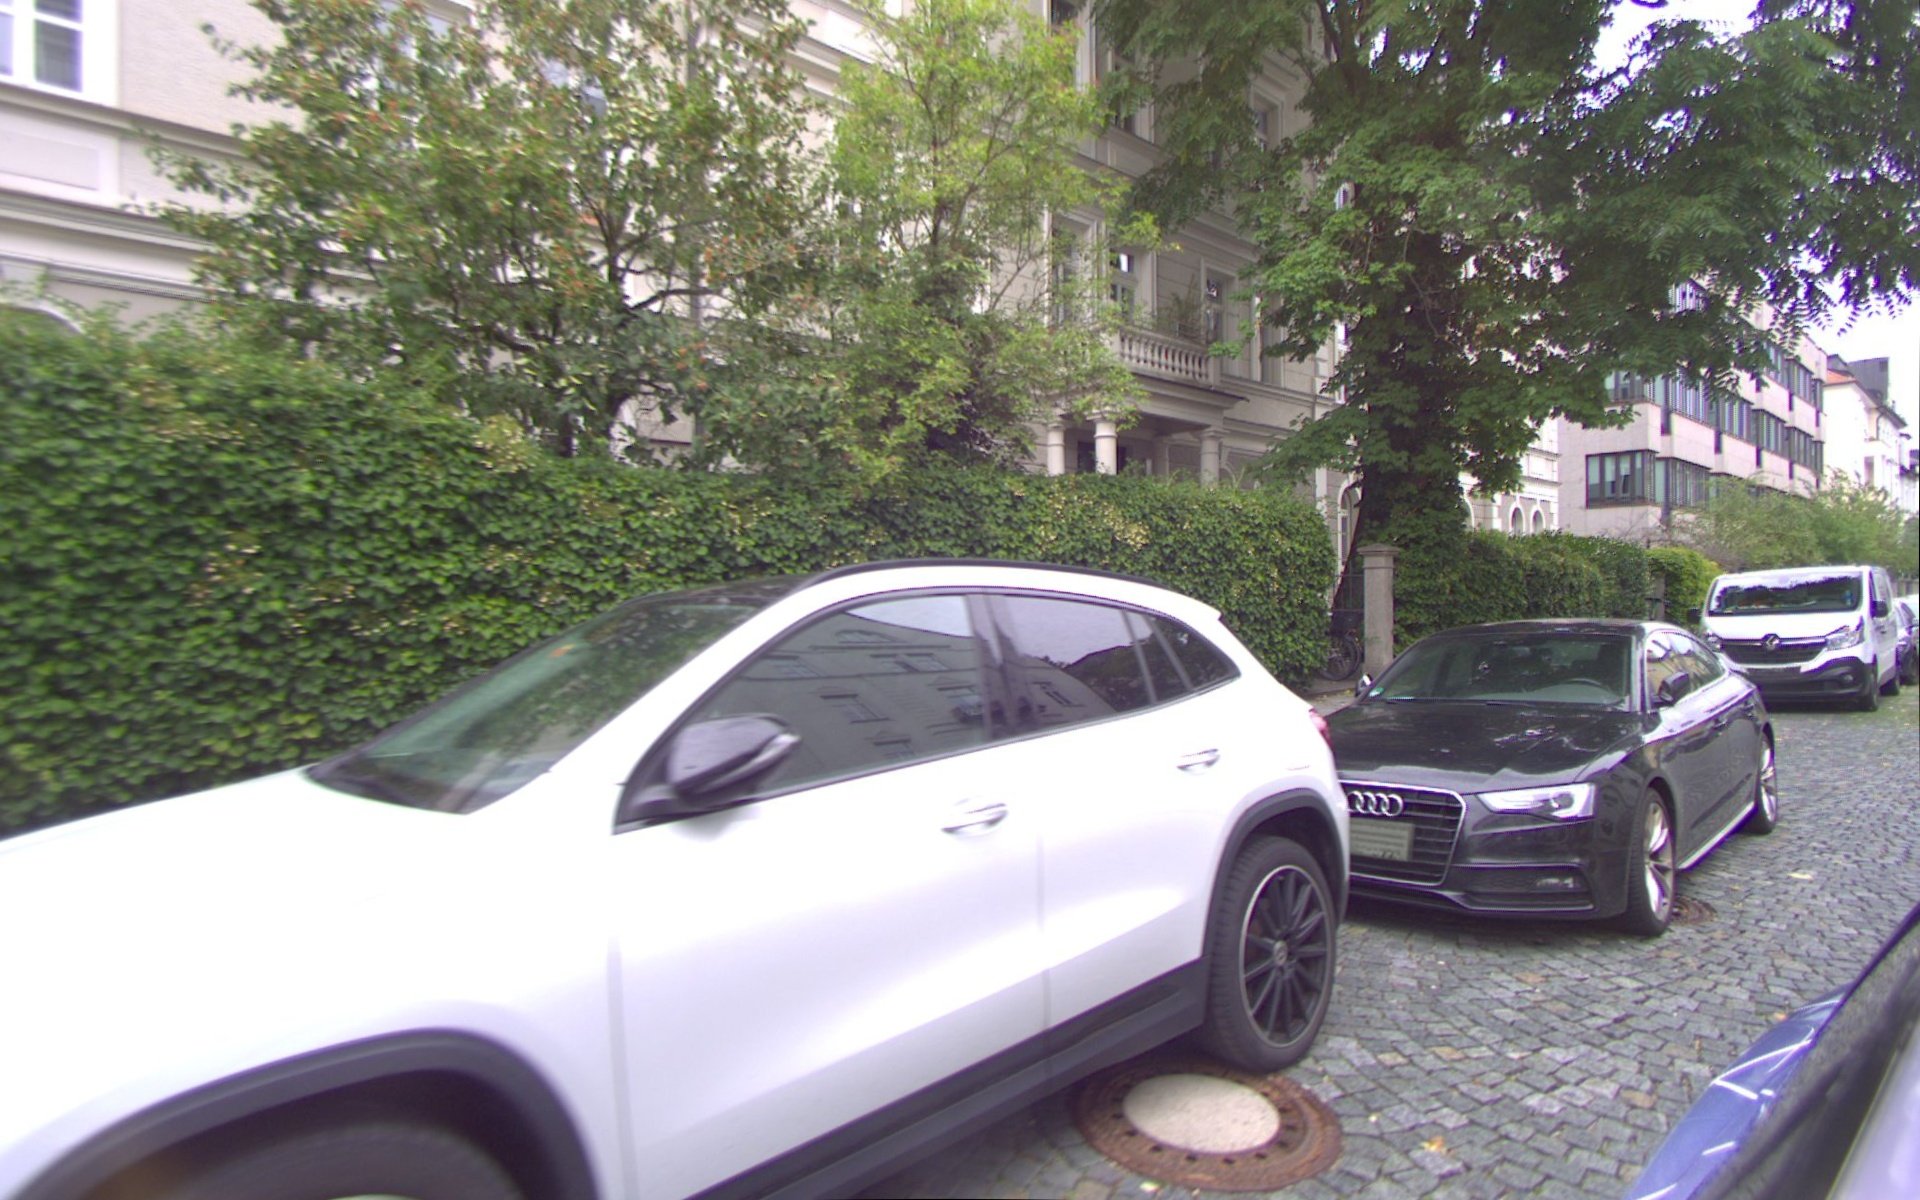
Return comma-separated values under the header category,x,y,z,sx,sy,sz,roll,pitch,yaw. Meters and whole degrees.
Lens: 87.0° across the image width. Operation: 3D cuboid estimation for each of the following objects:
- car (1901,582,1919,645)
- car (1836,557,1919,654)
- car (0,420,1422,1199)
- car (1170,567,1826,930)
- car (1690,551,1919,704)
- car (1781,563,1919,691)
category,x,y,z,sx,sy,sz,roll,pitch,yaw
car,28.711,0.342,29.099,3.930,1.737,1.997,-1,0,-41
car,21.307,0.079,22.667,3.930,2.039,1.997,-1,0,-41
car,-0.498,0.570,2.944,4.396,1.620,1.749,-1,0,-42
car,3.453,0.497,5.970,4.727,1.314,1.921,-1,1,-42
car,12.197,0.345,14.472,4.727,1.843,1.815,-1,-3,-43
car,16.265,0.395,17.936,3.930,2.039,1.997,-1,0,-41
